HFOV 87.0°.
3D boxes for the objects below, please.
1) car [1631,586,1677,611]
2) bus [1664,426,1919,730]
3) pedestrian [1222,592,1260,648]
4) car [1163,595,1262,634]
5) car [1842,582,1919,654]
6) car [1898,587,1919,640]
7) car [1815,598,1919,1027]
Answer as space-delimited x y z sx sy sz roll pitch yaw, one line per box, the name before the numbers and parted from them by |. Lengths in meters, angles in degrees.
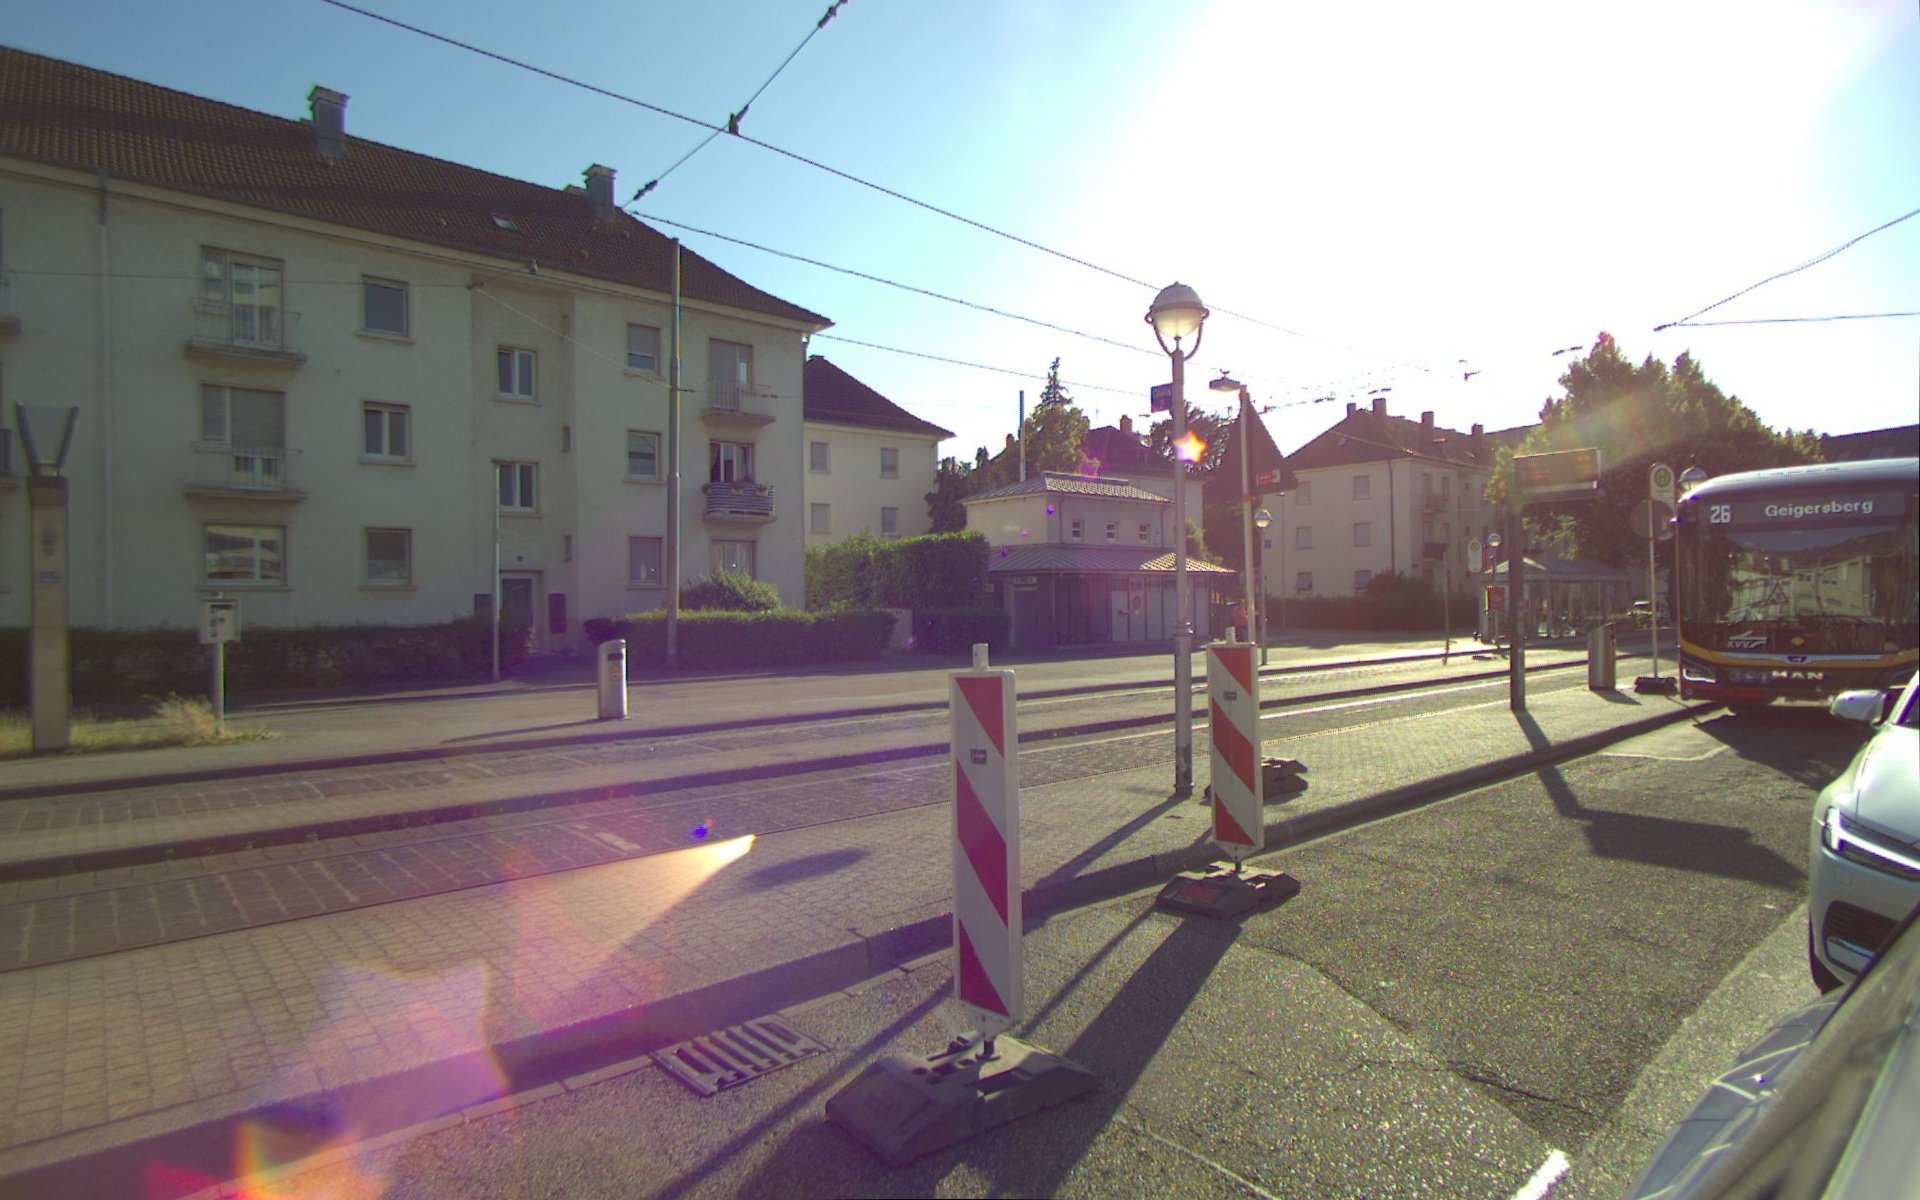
car | 53.784 -0.116 78.441 3.930 1.887 1.997 -1 0 -41
bus | 14.323 -0.266 15.851 11.824 3.345 2.745 0 0 -42
pedestrian | 9.011 0.631 32.431 0.810 1.740 0.842 0 0 -36
car | 11.590 0.678 46.673 1.964 1.694 4.050 -1 -1 -39
car | 21.231 0.357 22.369 4.740 1.477 1.968 0 0 -41
car | 28.790 0.366 29.235 4.740 1.477 1.968 0 0 -41
car | 5.279 0.730 4.363 4.143 1.472 1.819 0 0 -41
